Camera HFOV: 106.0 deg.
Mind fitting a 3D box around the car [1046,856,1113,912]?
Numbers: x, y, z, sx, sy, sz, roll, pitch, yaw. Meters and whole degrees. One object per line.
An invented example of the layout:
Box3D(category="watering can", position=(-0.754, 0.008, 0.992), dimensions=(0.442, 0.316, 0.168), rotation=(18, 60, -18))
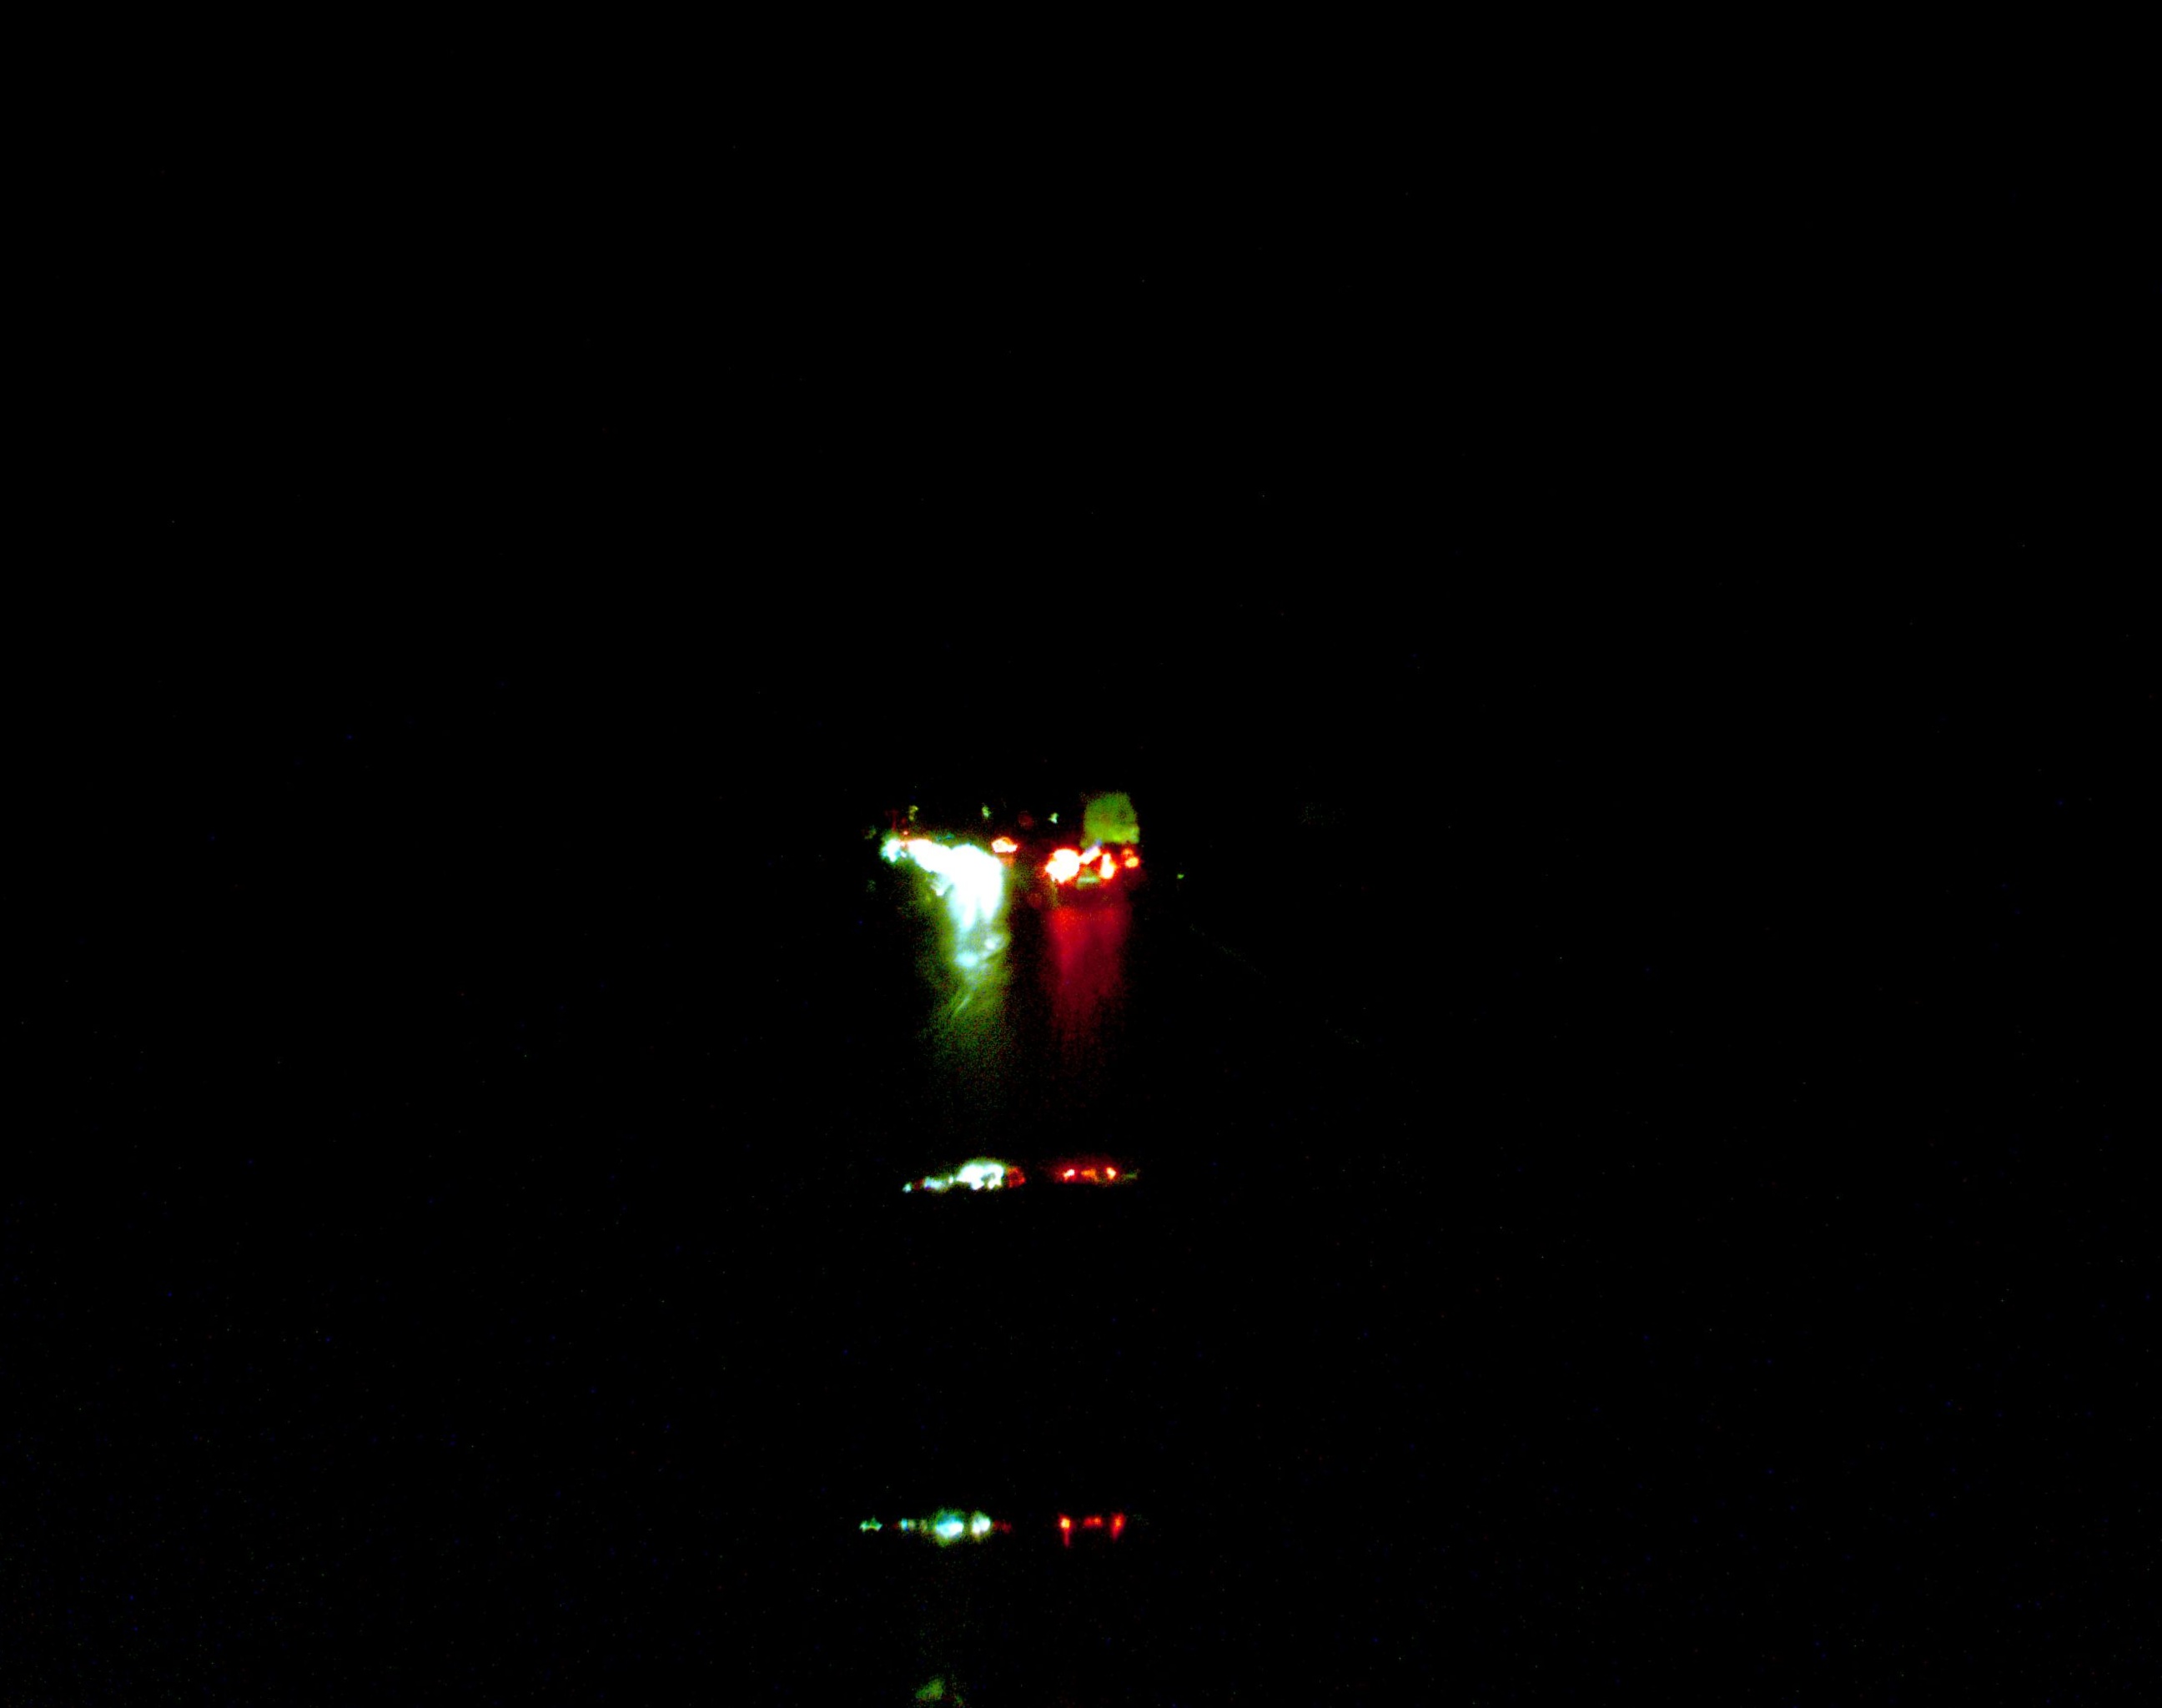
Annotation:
Box3D(category="car", position=(-0.092, 0.895, 26.830), dimensions=(1.988, 1.628, 4.982), rotation=(0, 0, -1))

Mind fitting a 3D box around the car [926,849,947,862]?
Box3D(category="car", position=(-16.620, 0.182, 93.583), dimensions=(1.776, 1.389, 4.207), rotation=(-1, 0, -18))

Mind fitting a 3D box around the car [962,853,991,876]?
Box3D(category="car", position=(-7.230, 0.708, 56.047), dimensions=(1.771, 1.483, 4.365), rotation=(-1, 0, -10))
